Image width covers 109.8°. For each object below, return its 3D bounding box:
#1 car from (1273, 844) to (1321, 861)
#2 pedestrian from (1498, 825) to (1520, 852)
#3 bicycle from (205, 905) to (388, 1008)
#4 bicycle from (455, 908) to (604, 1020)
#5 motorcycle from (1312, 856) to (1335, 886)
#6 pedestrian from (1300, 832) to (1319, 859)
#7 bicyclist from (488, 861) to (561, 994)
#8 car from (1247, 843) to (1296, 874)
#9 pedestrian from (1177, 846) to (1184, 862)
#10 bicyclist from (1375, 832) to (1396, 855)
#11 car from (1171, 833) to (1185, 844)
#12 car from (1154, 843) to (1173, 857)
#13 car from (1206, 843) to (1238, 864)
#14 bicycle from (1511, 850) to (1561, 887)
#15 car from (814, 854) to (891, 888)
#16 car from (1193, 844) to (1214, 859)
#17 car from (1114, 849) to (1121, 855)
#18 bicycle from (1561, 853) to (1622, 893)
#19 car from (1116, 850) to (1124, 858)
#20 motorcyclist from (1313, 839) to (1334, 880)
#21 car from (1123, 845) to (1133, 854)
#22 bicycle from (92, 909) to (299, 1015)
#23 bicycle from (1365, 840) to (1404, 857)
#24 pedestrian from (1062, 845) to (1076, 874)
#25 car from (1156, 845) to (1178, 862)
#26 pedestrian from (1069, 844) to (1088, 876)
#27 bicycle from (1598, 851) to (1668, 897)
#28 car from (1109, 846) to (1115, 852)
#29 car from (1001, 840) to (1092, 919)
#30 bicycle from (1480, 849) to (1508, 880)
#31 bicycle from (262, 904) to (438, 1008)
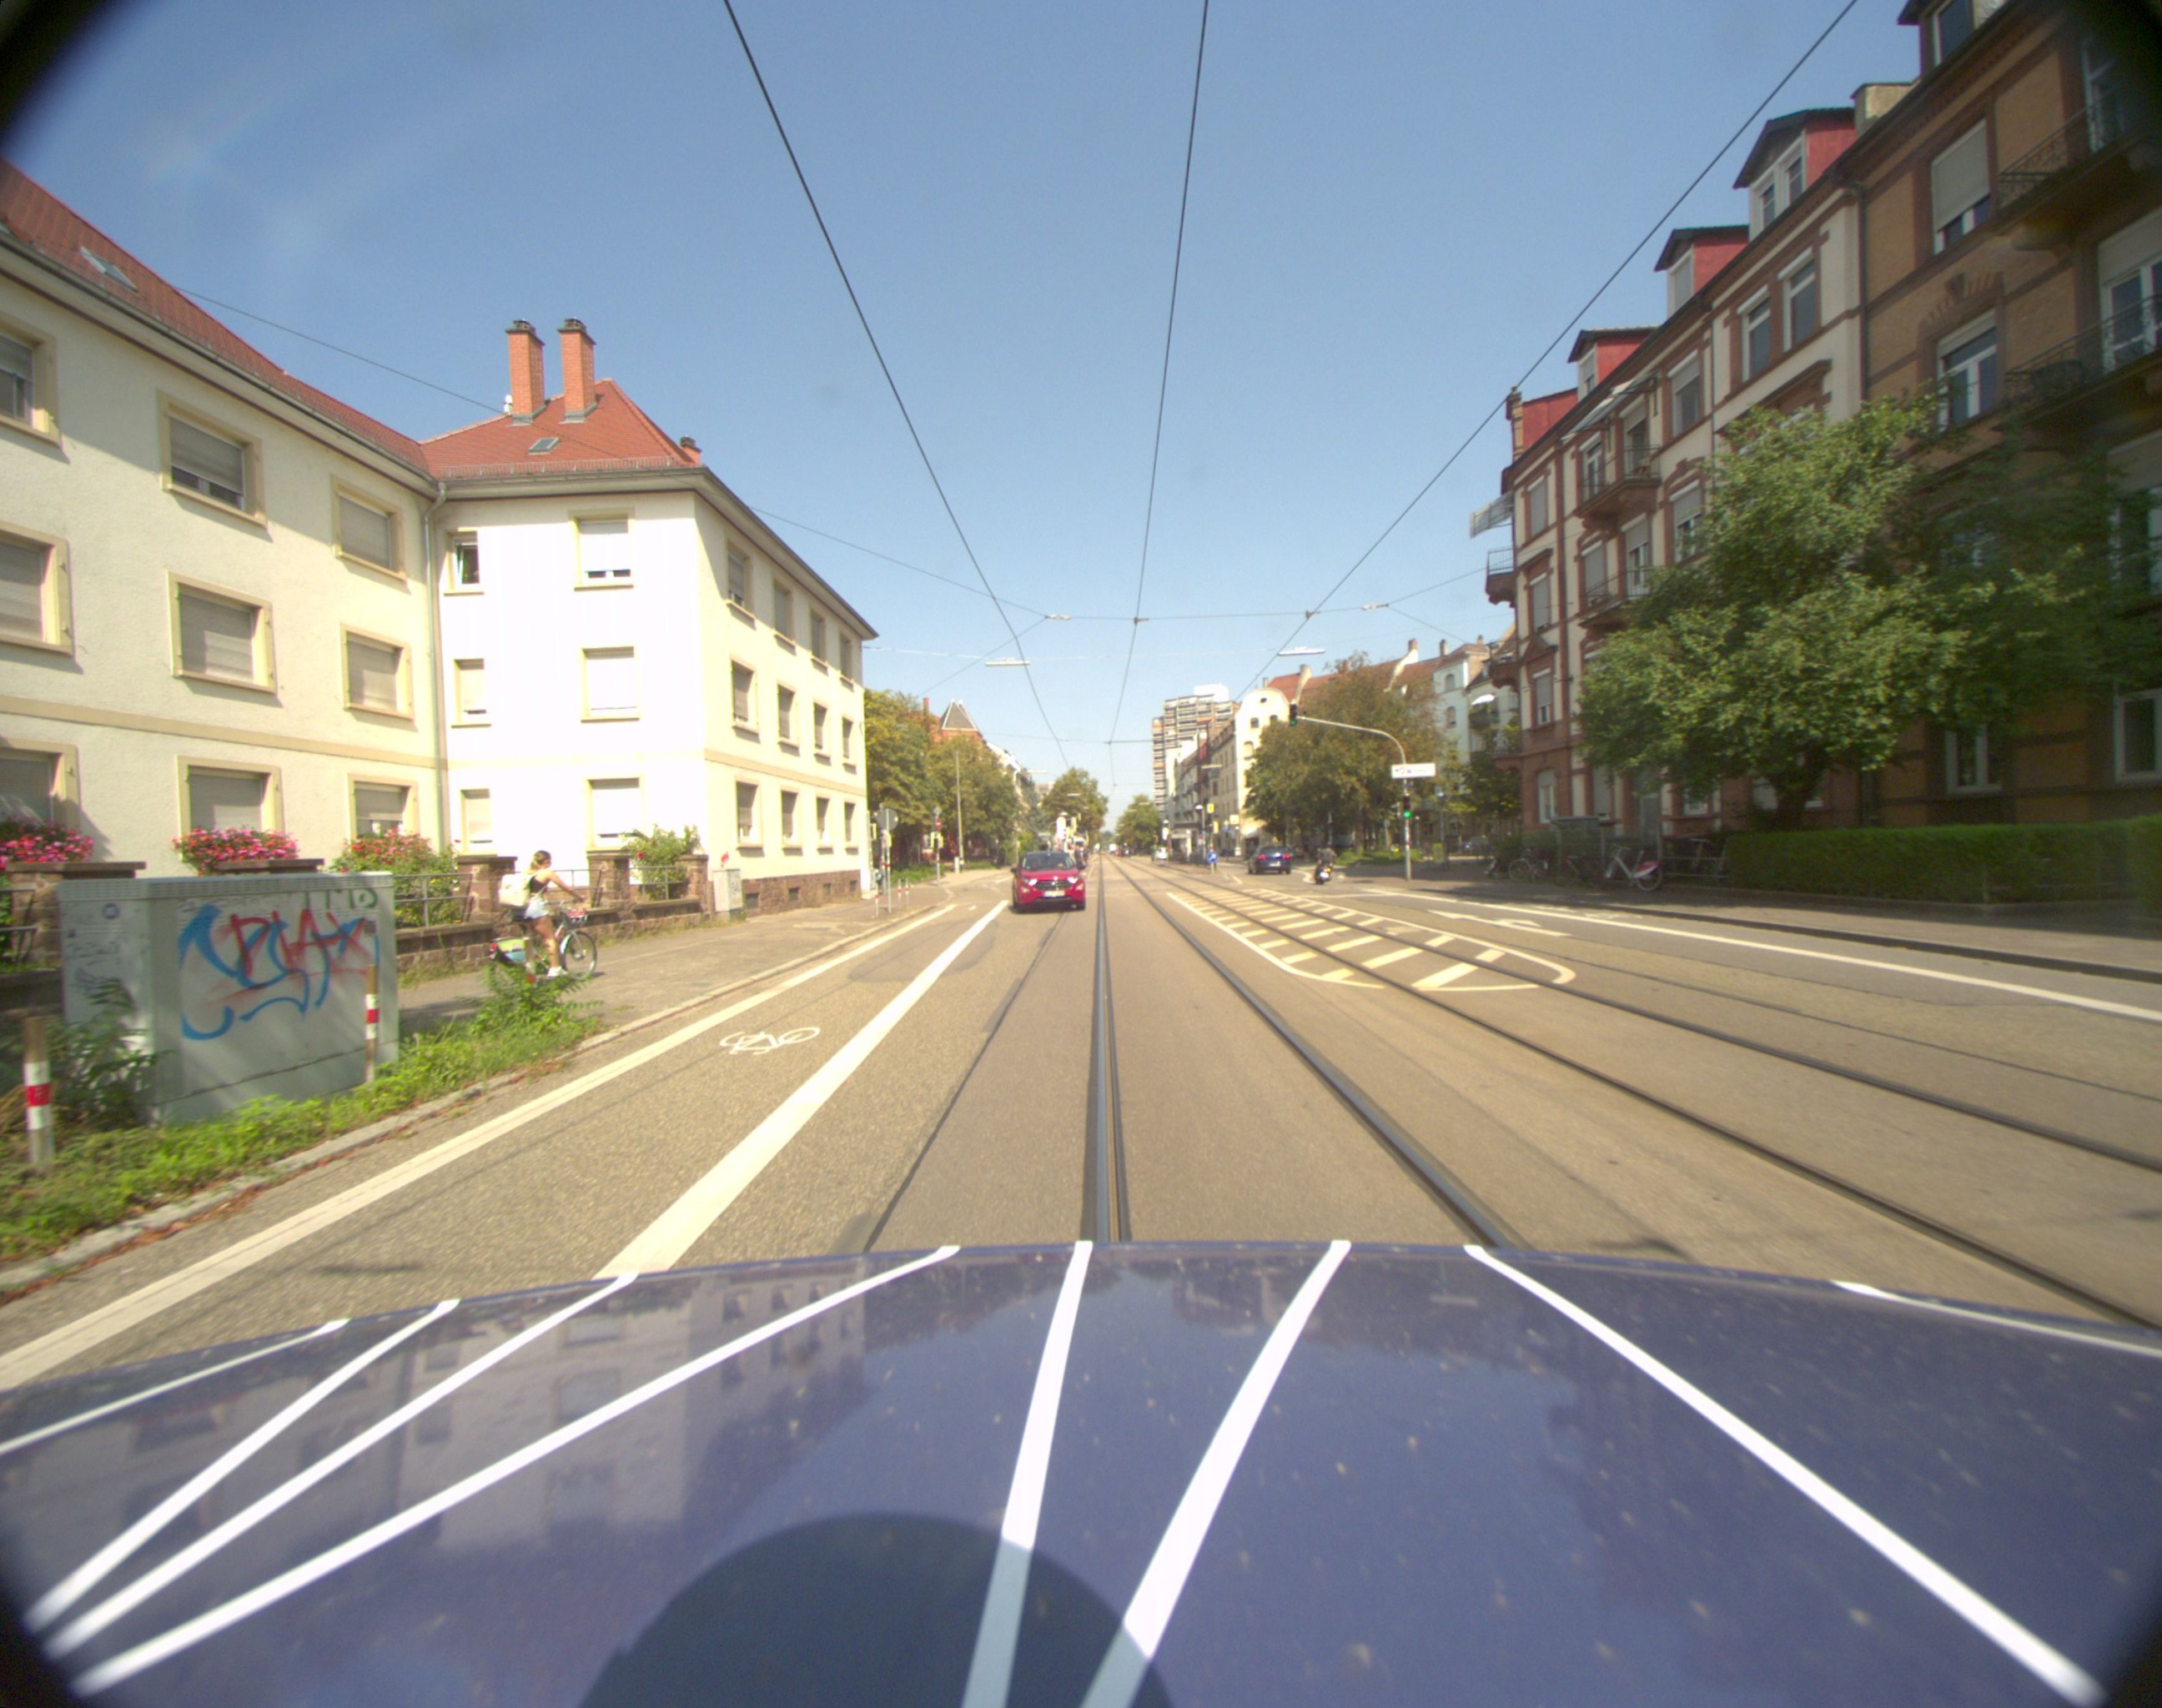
[{"bbox_3d":[23.138,-0.107,81.478,2.004,1.716,4.617,-2,1,-45],"label":"car"},{"bbox_3d":[32.493,-1.166,57.682,1.035,2.002,1.095,-3,1,7],"label":"pedestrian"},{"bbox_3d":[-10.003,1.261,9.793,0.441,1.041,1.828,-2,1,-2],"label":"bicycle"},{"bbox_3d":[-6.499,1.244,9.073,0.441,1.041,1.828,-2,1,-2],"label":"bicycle"},{"bbox_3d":[9.083,0.611,28.467,0.692,1.025,2.159,-2,1,15],"label":"motorcycle"},{"bbox_3d":[17.532,-0.635,58.354,1.094,2.002,1.036,-4,1,1],"label":"pedestrian"},{"bbox_3d":[-6.510,0.840,8.911,0.438,1.503,0.472,-2,1,-2],"label":"bicyclist"},{"bbox_3d":[9.661,0.197,38.806,1.730,1.425,4.178,-2,1,5],"label":"car"},{"bbox_3d":[8.107,0.008,62.015,0.479,1.243,0.648,-2,1,3],"label":"pedestrian"},{"bbox_3d":[27.414,-0.917,68.402,1.210,2.002,1.209,-3,2,-20],"label":"bicyclist"},{"bbox_3d":[17.632,-2.806,138.430,1.998,1.716,4.631,-1,0,2],"label":"car"},{"bbox_3d":[10.456,-0.502,96.703,1.998,1.716,4.631,-1,0,2],"label":"car"},{"bbox_3d":[11.685,-0.046,63.280,1.998,1.638,4.631,-1,0,3],"label":"car"},{"bbox_3d":[13.092,0.390,21.901,0.488,1.016,1.778,-2,0,5],"label":"bicycle"},{"bbox_3d":[-12.988,0.981,43.038,4.404,1.801,1.808,-2,0,36],"label":"car"},{"bbox_3d":[15.024,-0.339,93.337,1.998,1.716,4.631,-1,0,2],"label":"car"},{"bbox_3d":[9.892,-0.540,205.646,1.998,1.716,4.631,-1,0,2],"label":"car"},{"bbox_3d":[12.754,0.453,19.027,0.488,0.936,1.657,-2,0,5],"label":"bicycle"},{"bbox_3d":[9.252,0.043,180.369,1.998,1.716,4.631,-1,0,2],"label":"car"},{"bbox_3d":[9.045,0.200,28.372,0.690,1.503,0.773,-2,1,15],"label":"motorcyclist"},{"bbox_3d":[9.220,-0.933,149.361,1.998,1.716,4.631,-1,0,2],"label":"car"},{"bbox_3d":[-10.988,1.297,9.542,0.441,1.041,1.828,-2,1,-2],"label":"bicycle"},{"bbox_3d":[27.362,-0.440,68.526,1.224,1.428,3.479,-2,0,-20],"label":"bicycle"},{"bbox_3d":[-0.801,0.371,51.605,0.674,1.874,0.923,-2,1,12],"label":"pedestrian"},{"bbox_3d":[9.424,-0.055,83.513,1.998,1.716,4.631,-1,0,3],"label":"car"},{"bbox_3d":[-0.129,0.345,45.379,0.674,1.874,0.924,-2,1,32],"label":"pedestrian"},{"bbox_3d":[12.539,0.433,17.315,0.488,0.980,1.657,-2,0,5],"label":"bicycle"},{"bbox_3d":[9.690,-1.620,238.951,1.998,1.716,4.631,-1,0,2],"label":"car"},{"bbox_3d":[-1.077,0.652,20.893,1.804,1.801,4.412,-4,0,-10],"label":"car"},{"bbox_3d":[14.108,0.348,25.946,0.487,0.991,1.833,-2,1,39],"label":"bicycle"},{"bbox_3d":[-9.135,1.226,9.609,0.441,1.041,1.828,-2,1,-2],"label":"bicycle"}]
